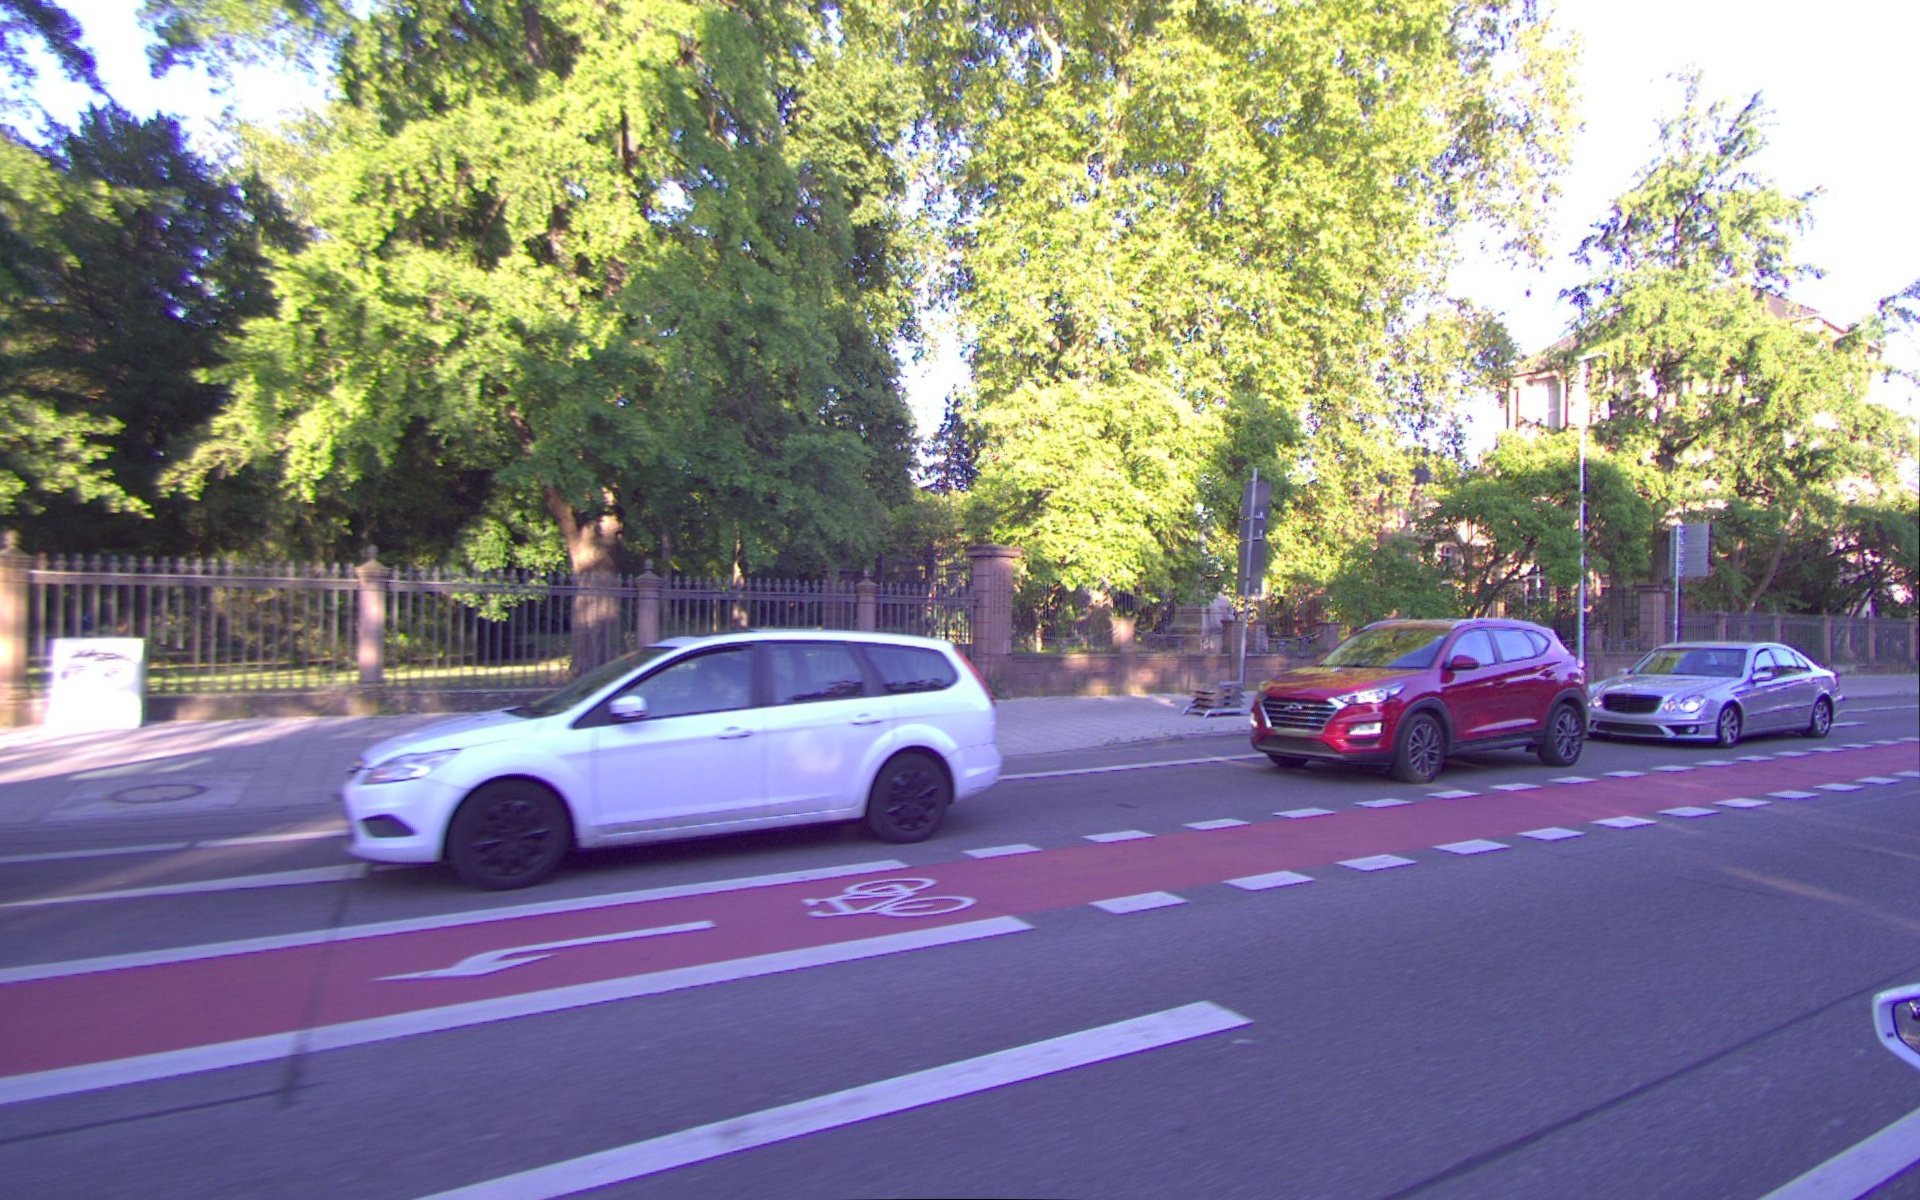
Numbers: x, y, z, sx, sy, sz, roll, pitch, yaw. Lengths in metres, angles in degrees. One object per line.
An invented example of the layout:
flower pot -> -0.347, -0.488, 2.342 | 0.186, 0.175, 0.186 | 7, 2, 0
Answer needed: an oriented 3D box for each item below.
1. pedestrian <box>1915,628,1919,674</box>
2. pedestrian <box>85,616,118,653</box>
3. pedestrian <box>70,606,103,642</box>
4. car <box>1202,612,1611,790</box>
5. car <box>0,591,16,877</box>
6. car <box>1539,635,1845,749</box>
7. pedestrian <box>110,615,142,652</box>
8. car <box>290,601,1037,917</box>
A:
pedestrian -> 34.702, 1.822, 35.852 | 0.679, 1.644, 0.678 | 1, -1, -26
pedestrian -> -40.015, 1.606, 46.840 | 0.892, 1.682, 0.871 | 1, -1, -20
pedestrian -> -40.841, 1.116, 46.977 | 0.892, 1.682, 0.871 | 1, -1, -20
car -> 5.087, 1.022, 11.304 | 4.585, 1.646, 1.907 | 1, -3, -31
car -> -7.259, 0.728, 4.249 | 4.375, 1.718, 1.907 | 1, -3, -31
car -> 10.774, 1.249, 14.702 | 4.715, 1.436, 1.907 | 1, -3, -31
pedestrian -> -39.185, 1.564, 47.216 | 0.892, 1.682, 0.871 | 1, -1, -20
car -> -1.886, 0.898, 7.132 | 4.620, 1.604, 1.907 | 1, -3, -31
